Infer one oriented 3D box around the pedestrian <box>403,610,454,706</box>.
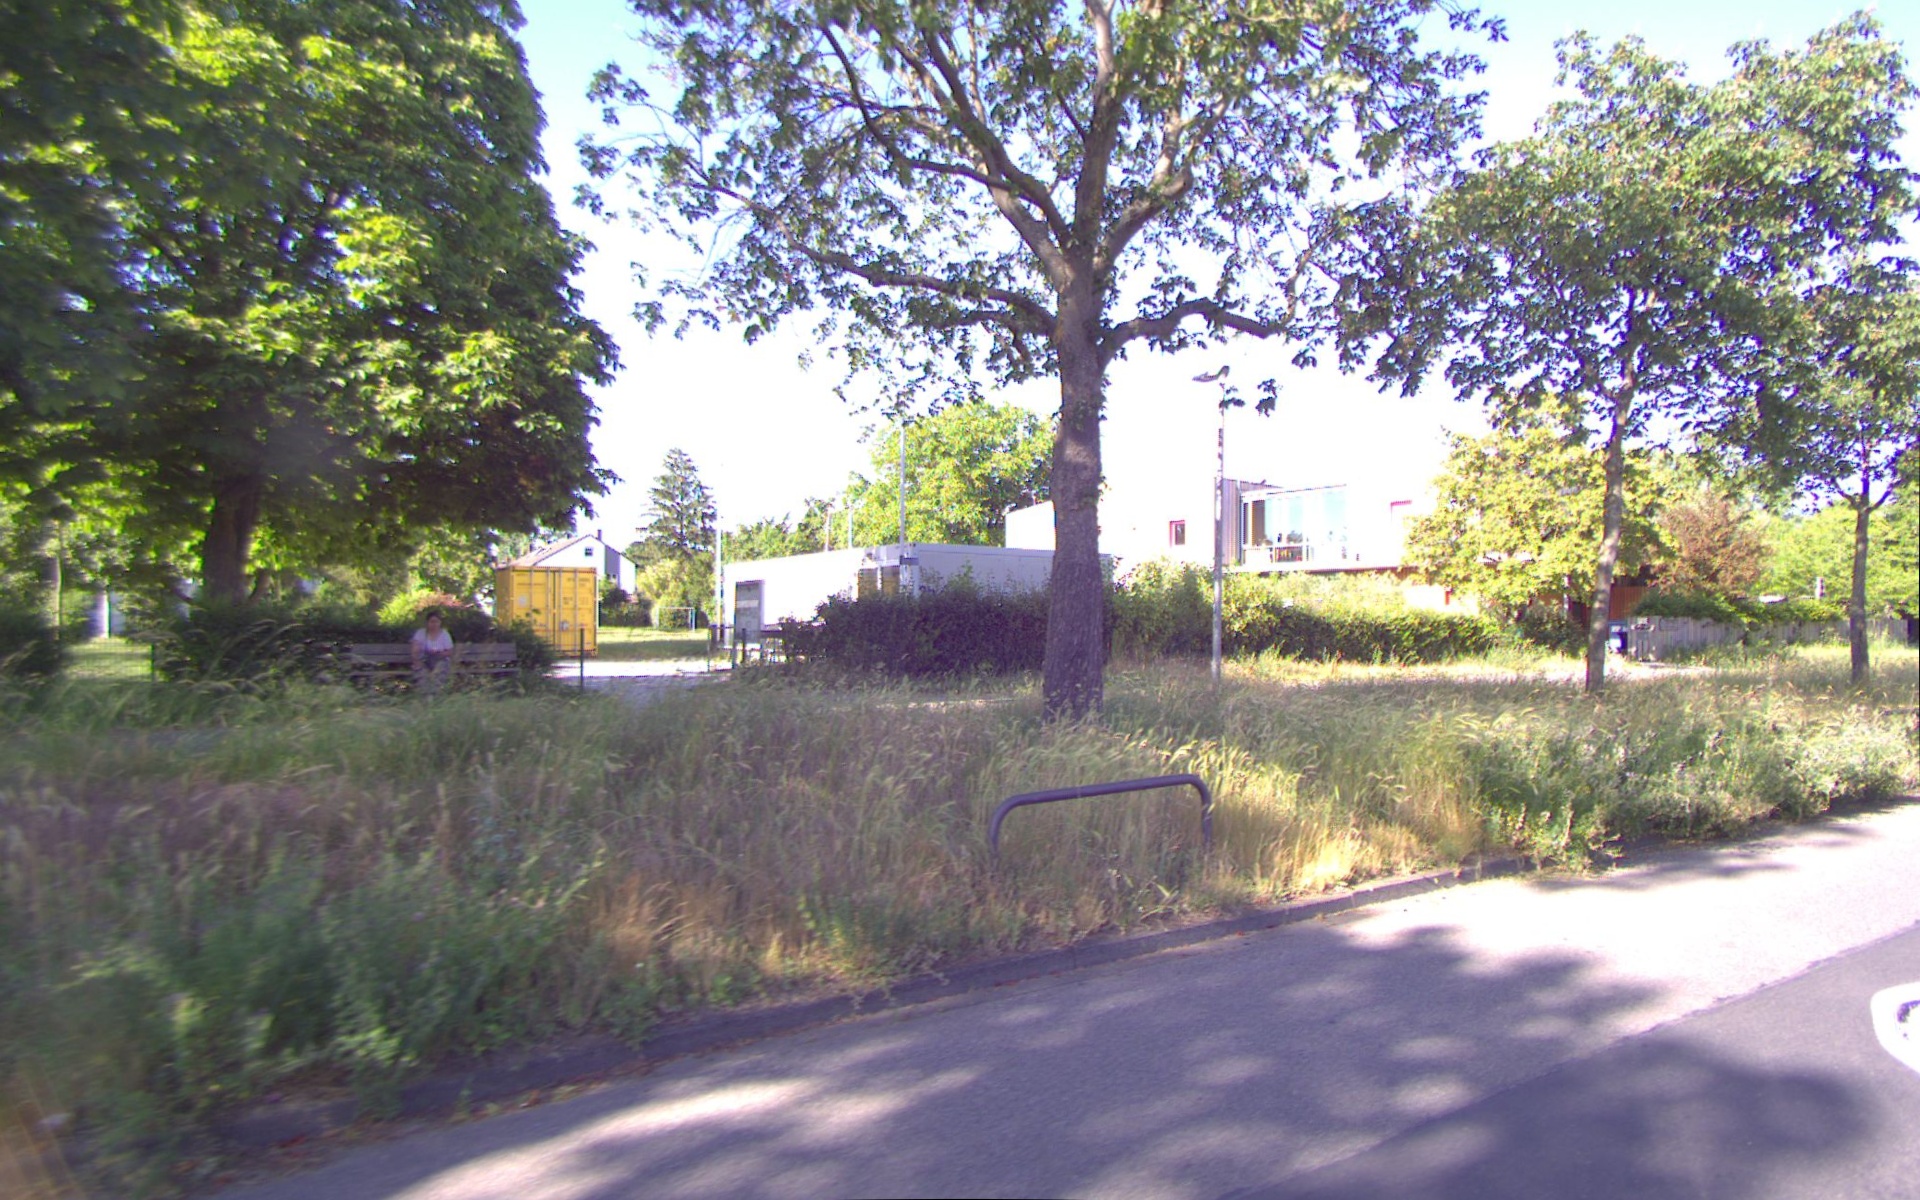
[{"bbox_3d":[-6.954,0.744,13.125,0.516,1.173,0.634,2,2,-32],"label":"pedestrian"}]
